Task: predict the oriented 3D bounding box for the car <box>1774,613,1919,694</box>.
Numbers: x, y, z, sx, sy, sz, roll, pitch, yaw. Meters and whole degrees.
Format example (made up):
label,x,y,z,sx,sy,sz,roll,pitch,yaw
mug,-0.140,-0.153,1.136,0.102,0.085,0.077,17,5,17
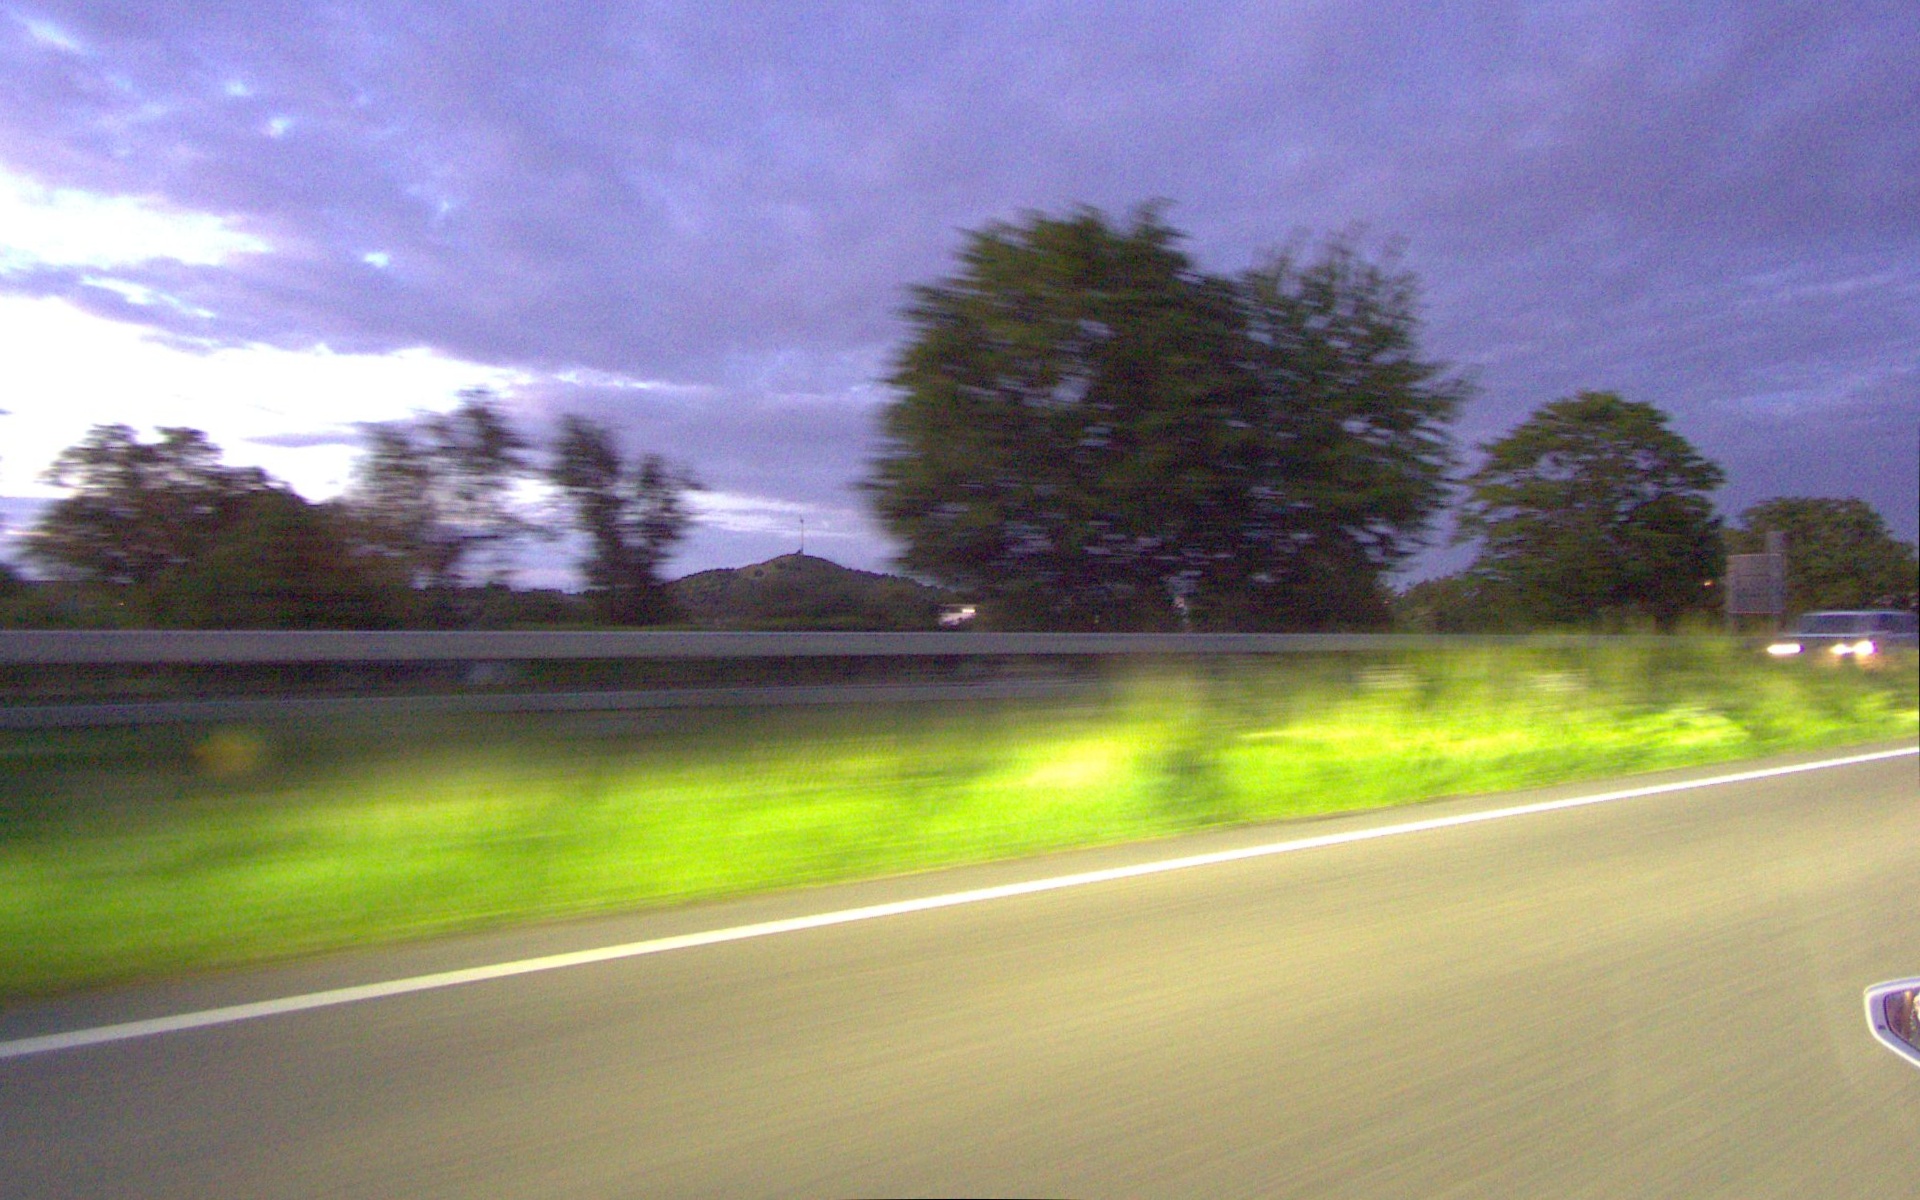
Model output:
label,x,y,z,sx,sy,sz,roll,pitch,yaw
car,25.785,1.507,28.943,5.287,2.127,1.955,2,0,-31
